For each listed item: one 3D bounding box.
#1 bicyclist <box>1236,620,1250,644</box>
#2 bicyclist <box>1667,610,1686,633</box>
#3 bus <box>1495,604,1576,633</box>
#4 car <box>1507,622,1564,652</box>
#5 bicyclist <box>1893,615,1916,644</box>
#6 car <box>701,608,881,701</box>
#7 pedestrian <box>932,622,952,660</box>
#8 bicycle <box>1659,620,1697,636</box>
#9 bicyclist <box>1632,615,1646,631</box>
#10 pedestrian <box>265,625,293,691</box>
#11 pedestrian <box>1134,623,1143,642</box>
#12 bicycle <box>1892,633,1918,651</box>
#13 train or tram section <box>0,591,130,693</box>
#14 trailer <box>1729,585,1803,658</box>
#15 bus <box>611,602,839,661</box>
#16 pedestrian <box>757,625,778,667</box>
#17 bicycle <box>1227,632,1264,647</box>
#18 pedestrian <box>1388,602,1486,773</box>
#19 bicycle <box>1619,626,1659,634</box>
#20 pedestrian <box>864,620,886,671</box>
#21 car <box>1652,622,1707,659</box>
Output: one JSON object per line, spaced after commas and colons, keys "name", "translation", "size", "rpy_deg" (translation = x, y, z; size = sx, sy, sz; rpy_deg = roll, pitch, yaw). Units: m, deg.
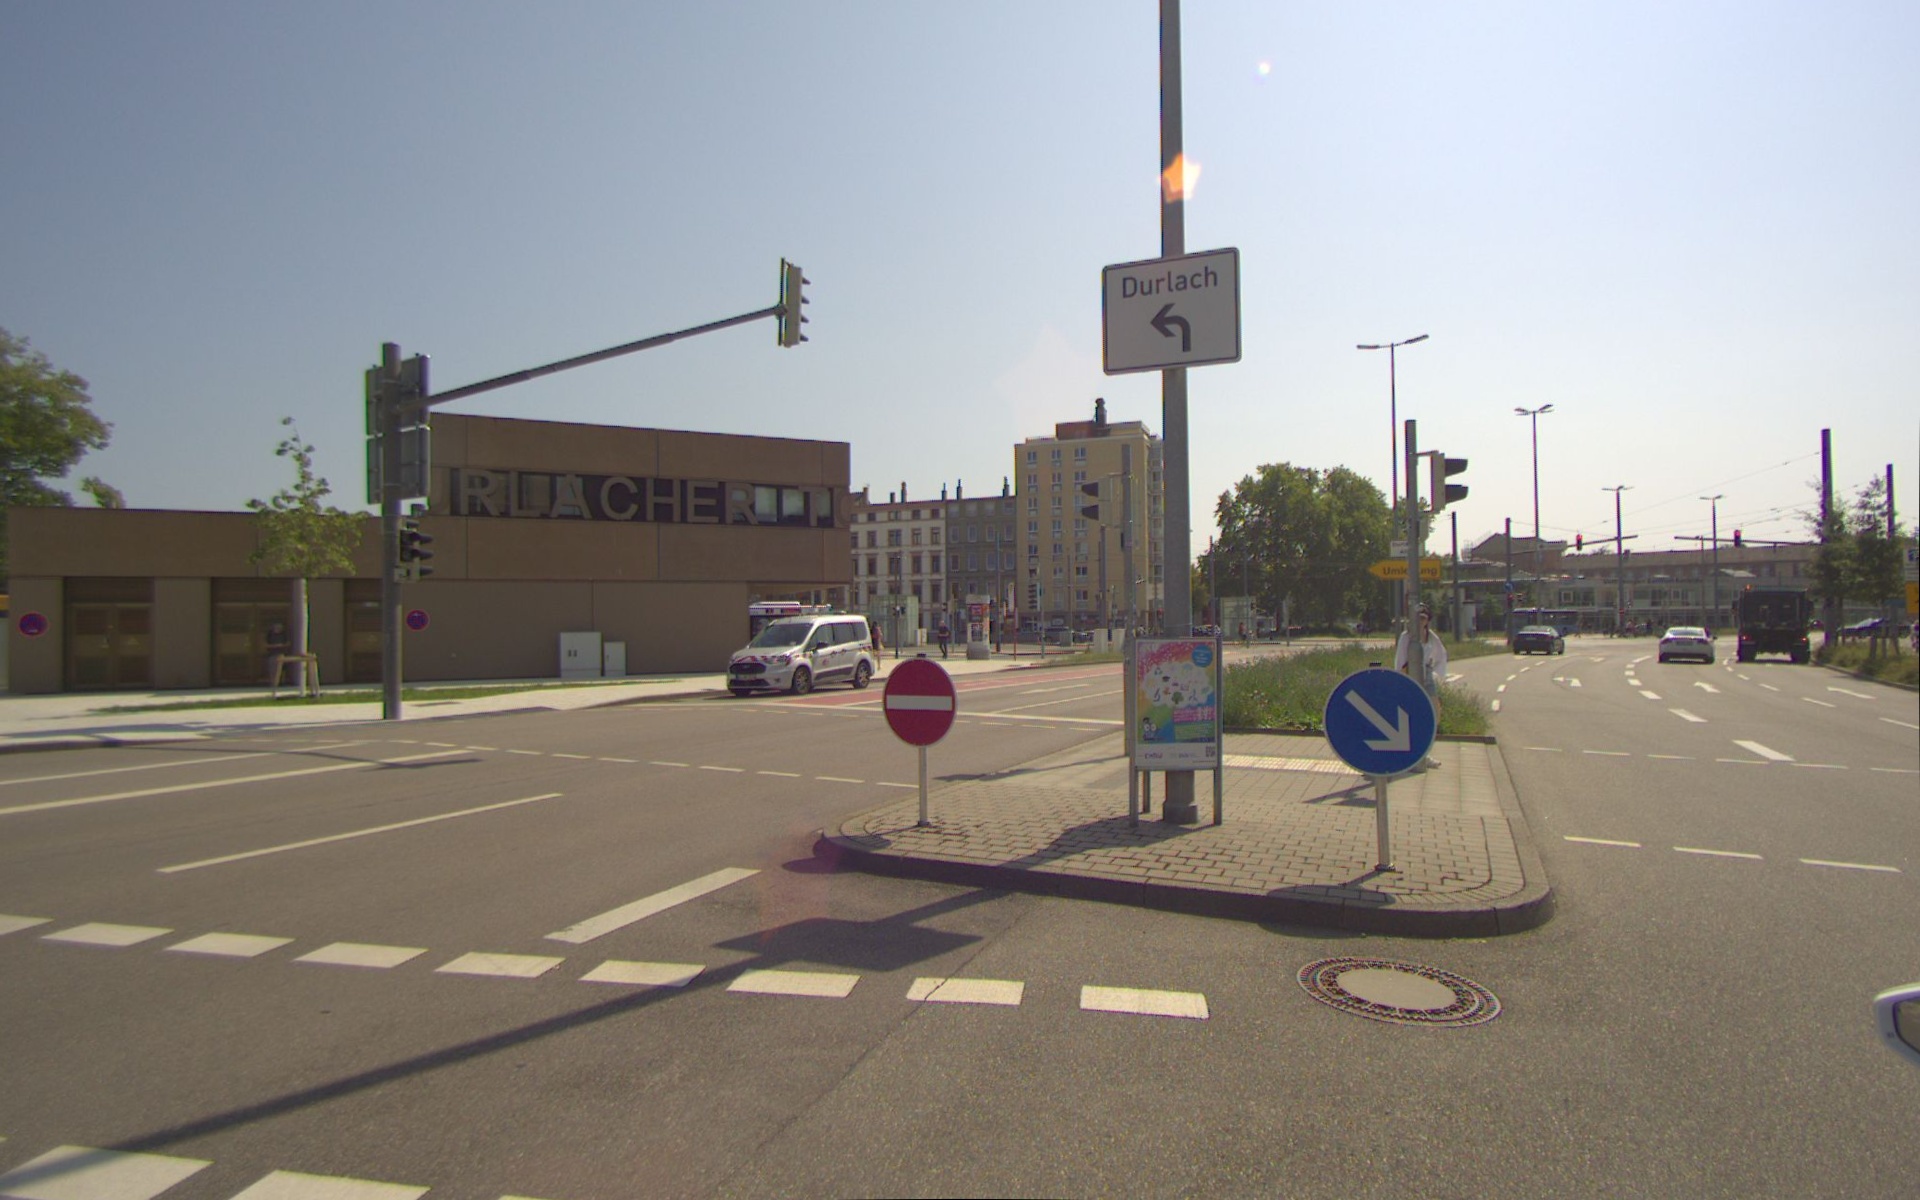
{"name": "bicyclist", "translation": [19.319, 2.177, 68.603], "size": [0.825, 1.664, 0.607], "rpy_deg": [-1, -1, 20]}
{"name": "bicyclist", "translation": [54.173, 1.617, 75.963], "size": [0.955, 1.676, 0.663], "rpy_deg": [-1, -1, 4]}
{"name": "bus", "translation": [61.529, 1.992, 107.191], "size": [11.739, 2.970, 3.032], "rpy_deg": [0, -2, -37]}
{"name": "car", "translation": [28.804, 1.818, 50.236], "size": [1.738, 1.423, 3.960], "rpy_deg": [-1, -1, 41]}
{"name": "bicyclist", "translation": [43.547, 1.357, 46.313], "size": [0.666, 1.337, 0.681], "rpy_deg": [-2, -2, 38]}
{"name": "car", "translation": [-3.805, 1.225, 23.434], "size": [1.963, 1.884, 4.330], "rpy_deg": [-4, -3, 25]}
{"name": "pedestrian", "translation": [-0.826, 1.866, 45.646], "size": [0.634, 1.725, 0.809], "rpy_deg": [-1, -2, 24]}
{"name": "bicycle", "translation": [54.182, 2.096, 75.833], "size": [0.955, 1.194, 2.833], "rpy_deg": [-1, -1, 5]}
{"name": "bicyclist", "translation": [63.532, 2.155, 93.993], "size": [0.888, 1.521, 0.865], "rpy_deg": [-1, -1, 19]}
{"name": "pedestrian", "translation": [-17.877, 1.523, 26.371], "size": [0.529, 1.700, 0.565], "rpy_deg": [-1, -1, -27]}
{"name": "pedestrian", "translation": [15.808, 2.895, 88.844], "size": [0.638, 1.654, 0.814], "rpy_deg": [-1, -1, 20]}
{"name": "bicycle", "translation": [43.624, 1.912, 46.393], "size": [0.666, 0.787, 2.119], "rpy_deg": [-2, -2, 38]}
{"name": "train or tram section", "translation": [-36.362, 1.644, 37.135], "size": [8.136, 3.644, 3.142], "rpy_deg": [-1, -2, -26]}
{"name": "trailer", "translation": [35.828, 0.923, 44.752], "size": [2.432, 3.048, 6.299], "rpy_deg": [0, 0, 38]}
{"name": "bus", "translation": [-13.212, 1.712, 57.093], "size": [12.317, 3.111, 3.087], "rpy_deg": [0, -2, -26]}
{"name": "pedestrian", "translation": [-7.505, 1.783, 39.174], "size": [0.682, 1.635, 0.636], "rpy_deg": [0, -1, -21]}
{"name": "bicycle", "translation": [19.480, 2.713, 68.536], "size": [2.369, 0.966, 0.604], "rpy_deg": [-1, -1, 20]}
{"name": "pedestrian", "translation": [5.018, 0.894, 10.587], "size": [0.602, 1.717, 0.693], "rpy_deg": [0, -2, -36]}
{"name": "bicycle", "translation": [63.518, 2.790, 93.991], "size": [2.886, 0.737, 0.865], "rpy_deg": [-1, -2, 19]}
{"name": "pedestrian", "translation": [-2.932, 1.575, 34.753], "size": [0.615, 1.725, 0.787], "rpy_deg": [-1, -1, 3]}
{"name": "car", "translation": [30.390, 1.662, 42.363], "size": [1.736, 1.474, 4.407], "rpy_deg": [-1, -1, 38]}
